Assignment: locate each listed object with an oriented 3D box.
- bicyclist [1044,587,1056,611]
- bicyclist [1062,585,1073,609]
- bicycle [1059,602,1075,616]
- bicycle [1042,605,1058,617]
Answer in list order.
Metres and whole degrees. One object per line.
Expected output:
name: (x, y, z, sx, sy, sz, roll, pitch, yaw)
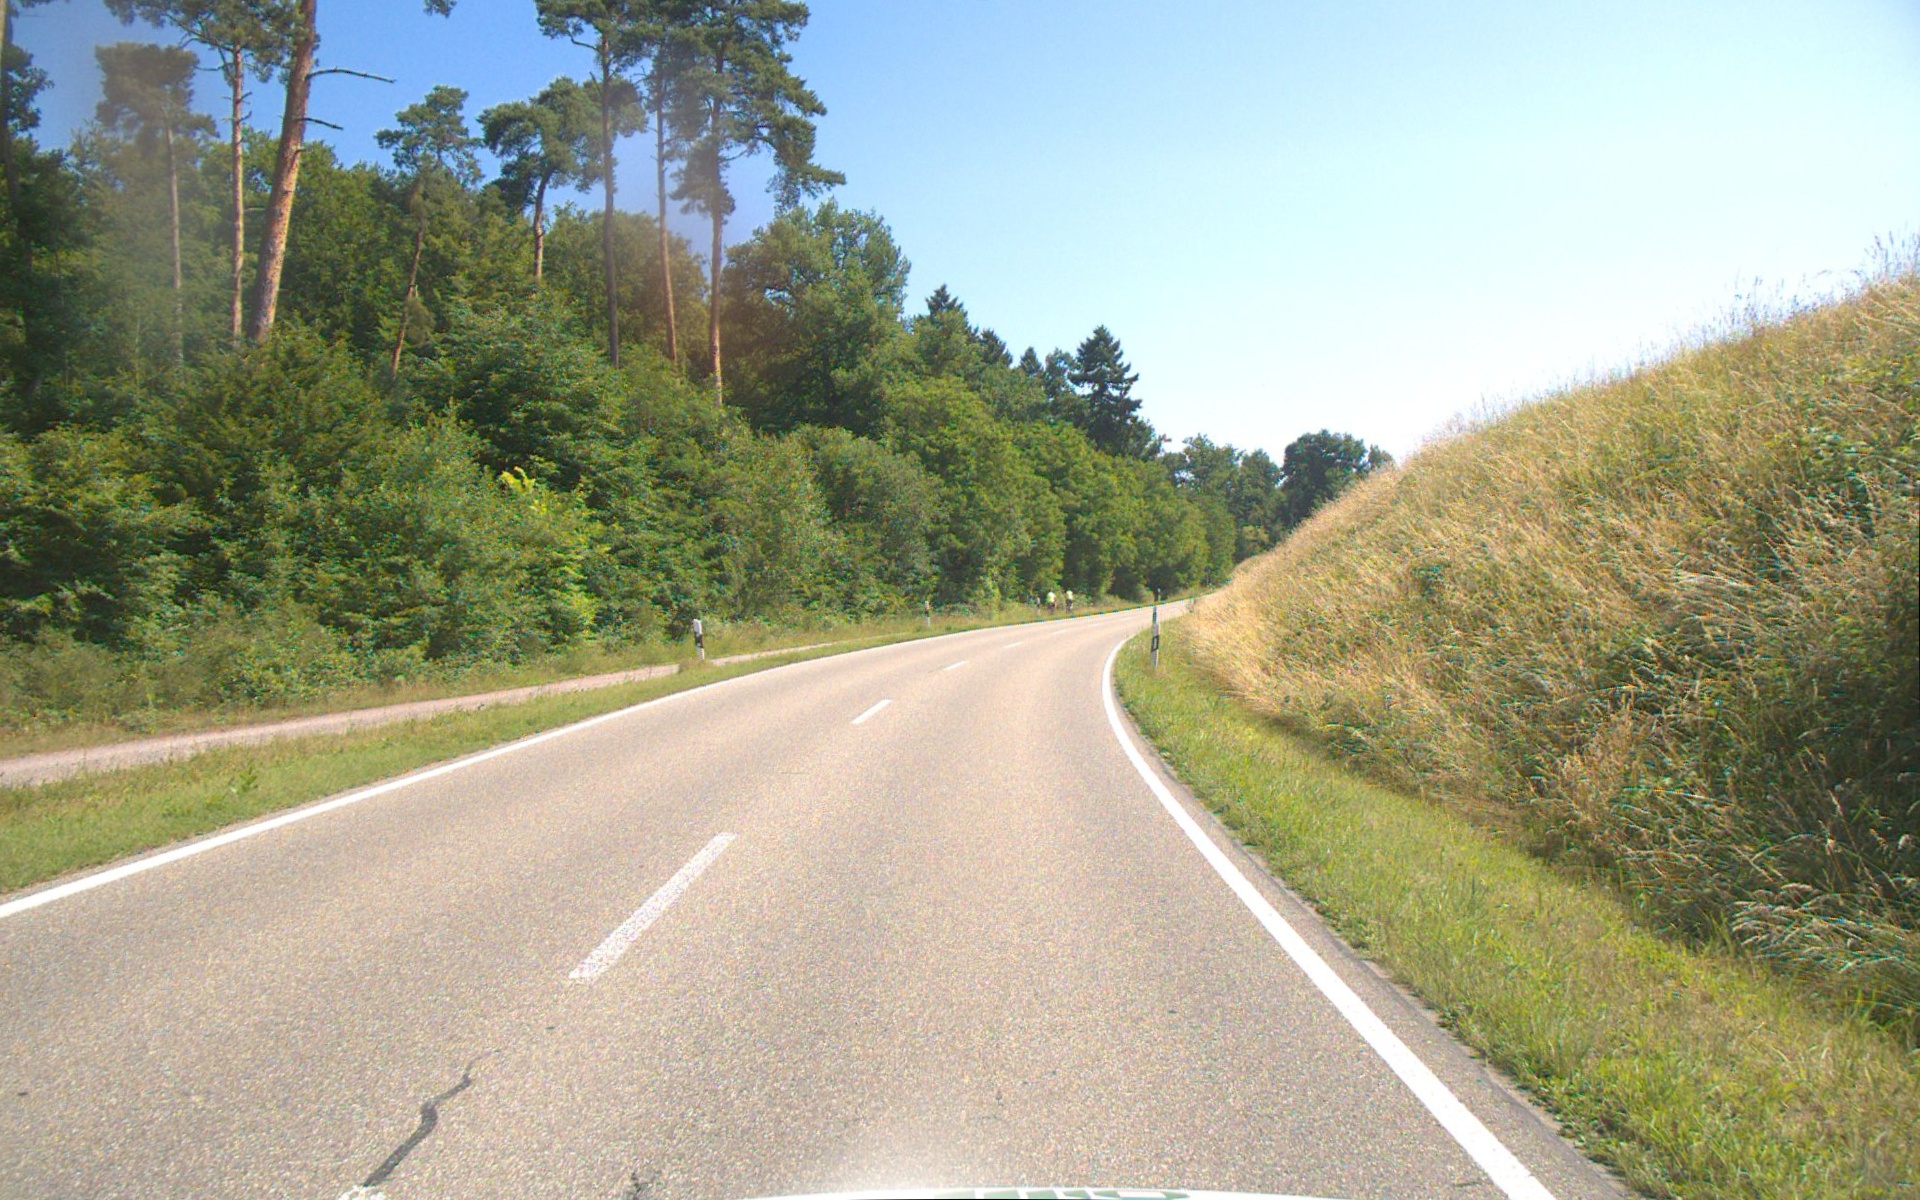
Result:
bicyclist: (5.578, -0.050, 102.453, 0.592, 1.440, 0.703, 0, -1, 13)
bicyclist: (6.632, -0.174, 102.079, 0.592, 1.440, 0.703, -1, 0, 13)
bicycle: (6.591, 0.552, 101.908, 0.626, 0.802, 2.139, -2, 0, 13)
bicycle: (5.559, 0.648, 102.426, 0.606, 0.693, 2.139, -2, 0, 13)
